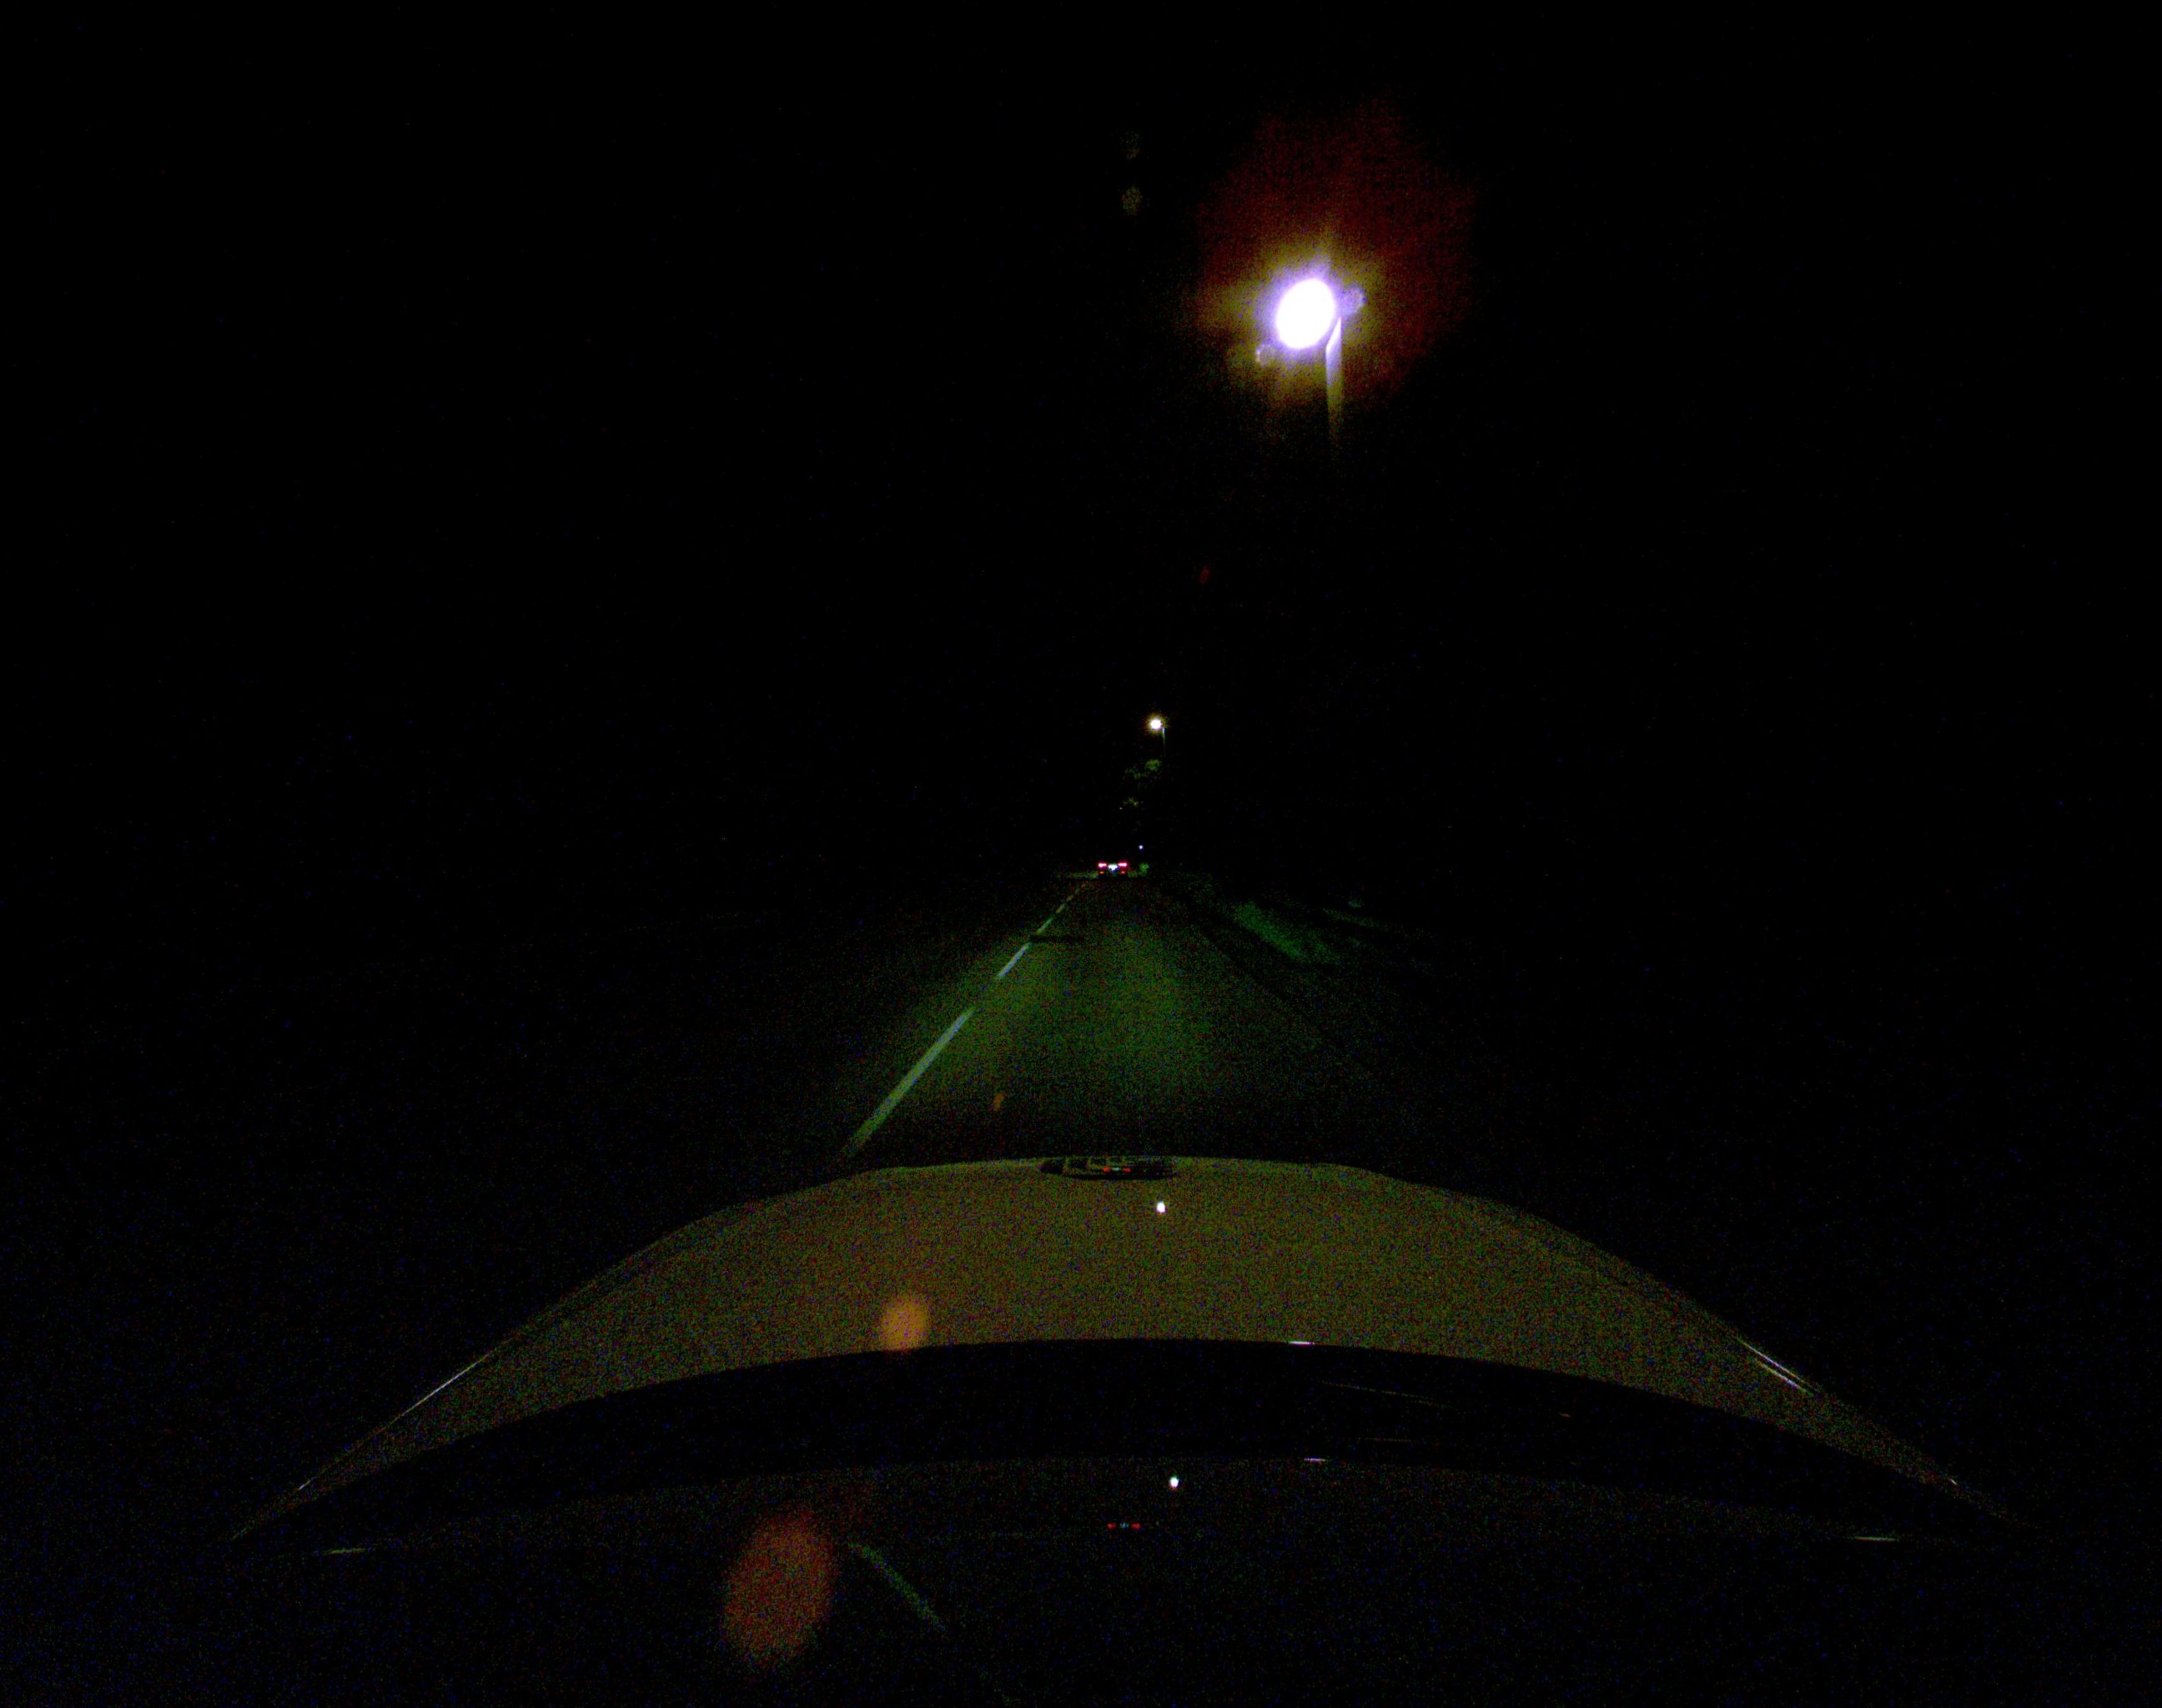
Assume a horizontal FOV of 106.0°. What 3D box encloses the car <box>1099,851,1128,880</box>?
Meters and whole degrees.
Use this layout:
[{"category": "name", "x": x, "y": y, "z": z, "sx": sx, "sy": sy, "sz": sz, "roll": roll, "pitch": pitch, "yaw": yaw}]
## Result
[{"category": "car", "x": 2.036, "y": 0.694, "z": 50.768, "sx": 1.756, "sy": 1.641, "sz": 3.725, "roll": -1, "pitch": 1, "yaw": 2}]
